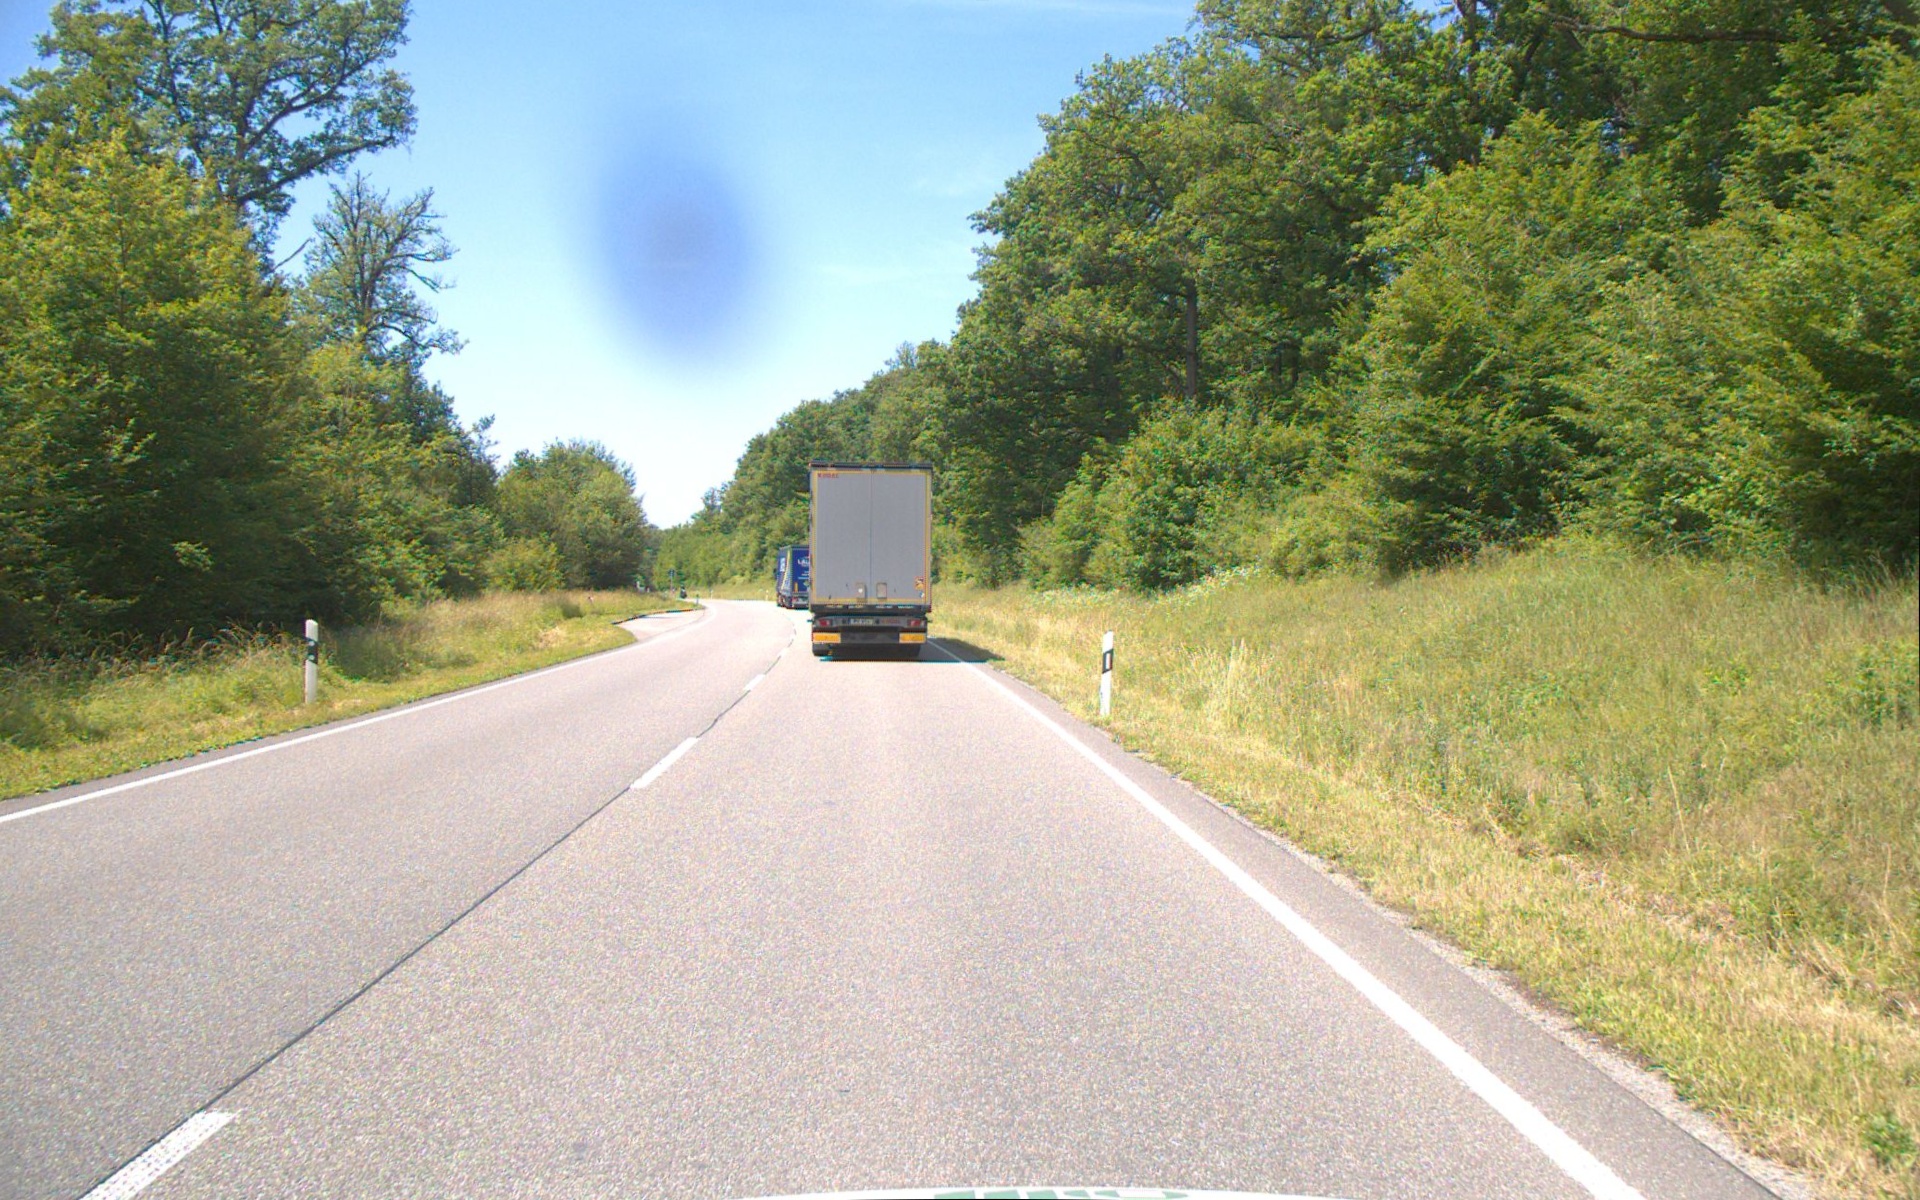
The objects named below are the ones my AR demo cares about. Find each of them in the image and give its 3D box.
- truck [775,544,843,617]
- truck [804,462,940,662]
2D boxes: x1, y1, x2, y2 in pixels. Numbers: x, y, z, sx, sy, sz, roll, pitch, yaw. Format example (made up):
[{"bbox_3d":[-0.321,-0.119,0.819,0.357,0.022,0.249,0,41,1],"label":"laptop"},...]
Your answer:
[{"bbox_3d":[-10.258,-1.280,110.613,3.722,4.449,14.892,1,0,-8],"label":"truck"},{"bbox_3d":[-2.134,-0.790,39.593,2.706,4.016,12.189,1,0,-3],"label":"truck"}]
